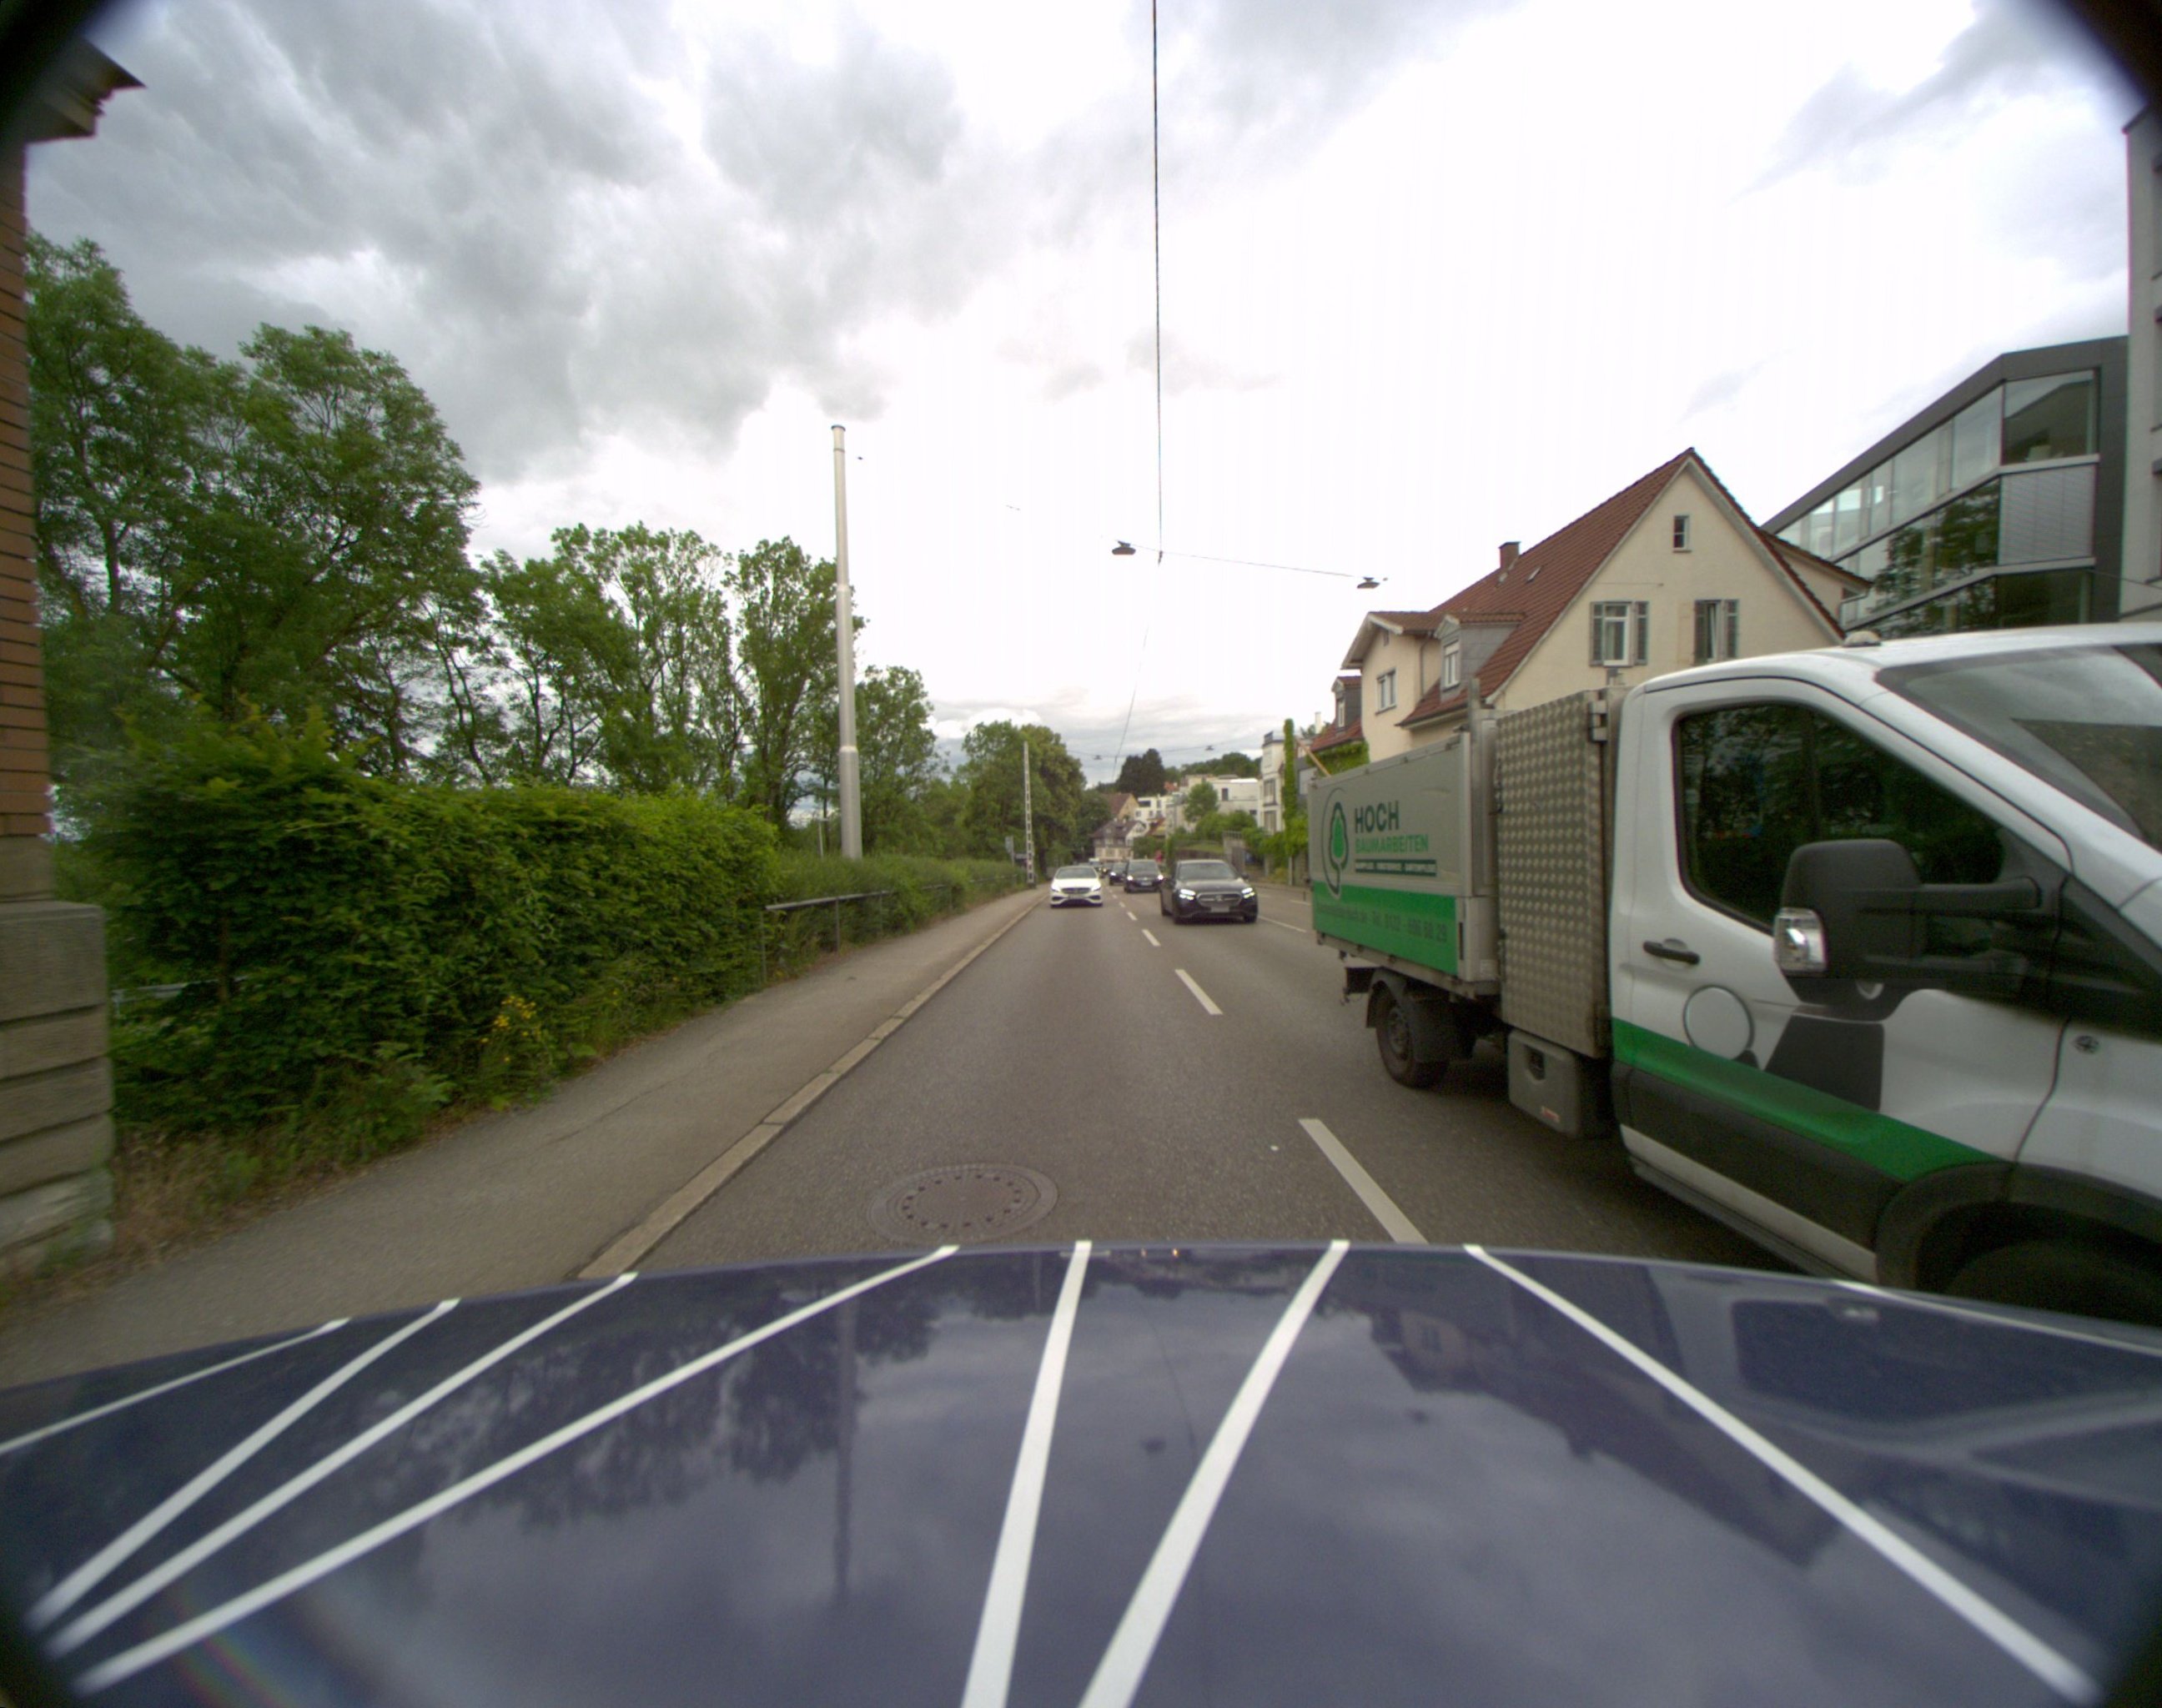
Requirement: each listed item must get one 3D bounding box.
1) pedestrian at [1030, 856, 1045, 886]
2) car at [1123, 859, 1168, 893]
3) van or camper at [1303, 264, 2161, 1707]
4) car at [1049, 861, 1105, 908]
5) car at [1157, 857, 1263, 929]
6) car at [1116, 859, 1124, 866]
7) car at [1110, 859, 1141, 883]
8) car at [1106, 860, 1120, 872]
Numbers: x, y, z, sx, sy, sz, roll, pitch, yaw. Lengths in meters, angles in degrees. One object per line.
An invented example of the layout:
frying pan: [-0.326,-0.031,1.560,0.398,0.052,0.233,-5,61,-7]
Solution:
pedestrian: [-2.701,1.083,47.657,0.814,1.873,0.949,0,0,5]
car: [3.150,1.046,37.819,1.878,1.521,4.000,-2,0,1]
van or camper: [2.970,0.272,3.064,2.349,2.647,5.963,-3,2,0]
car: [-0.098,1.028,27.114,1.809,1.521,4.000,-2,0,1]
car: [3.033,0.862,18.722,1.878,1.521,4.335,-2,0,1]
car: [9.597,2.020,186.453,1.709,1.702,3.868,-1,0,1]
car: [3.013,1.129,52.035,1.878,1.521,4.000,-2,0,1]
car: [3.968,1.494,95.383,1.680,1.426,3.714,-1,0,2]
